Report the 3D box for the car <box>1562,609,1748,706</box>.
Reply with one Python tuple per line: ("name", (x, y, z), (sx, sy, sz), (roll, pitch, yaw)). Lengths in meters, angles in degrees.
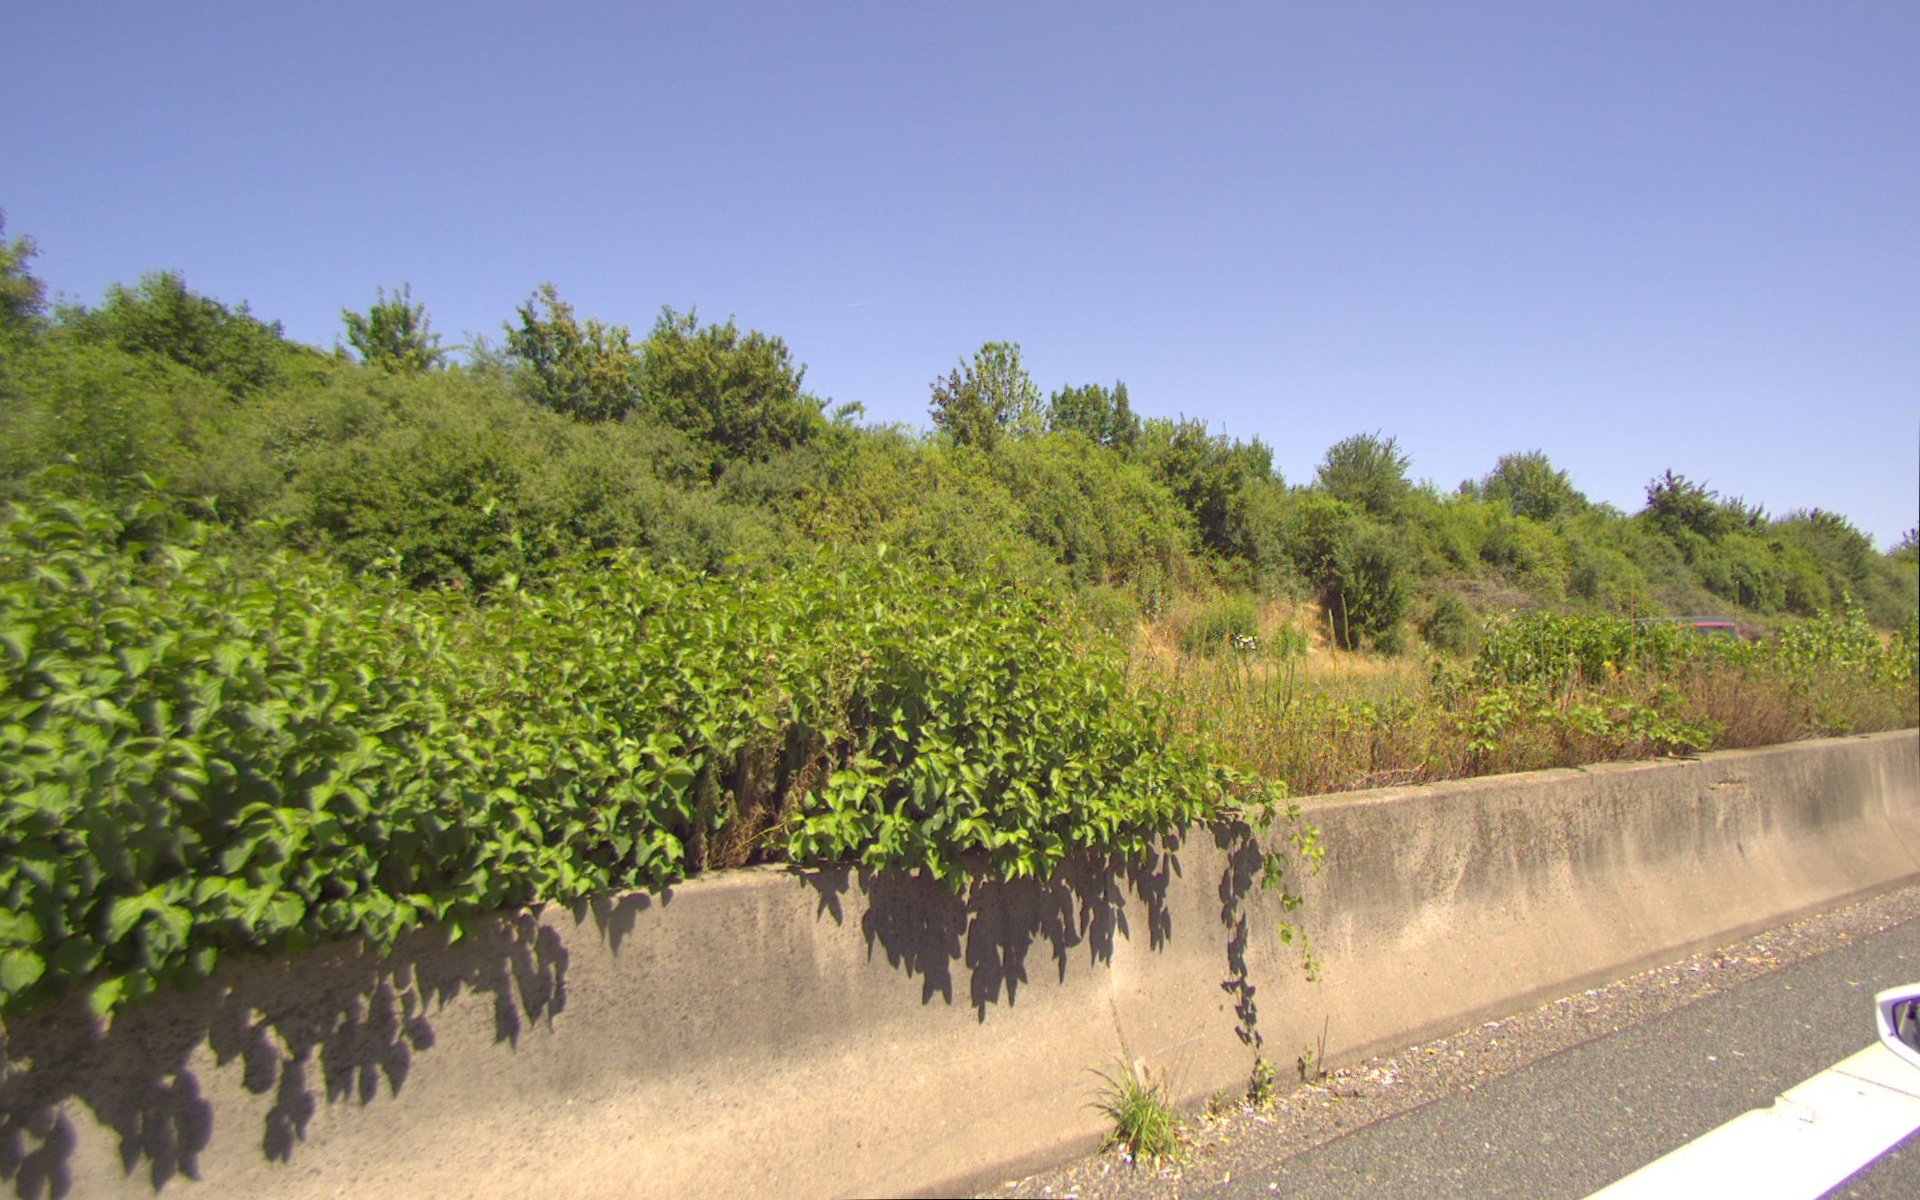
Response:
("car", (16.628, 1.333, 23.995), (4.555, 2.124, 1.983), (1, -2, -32))
